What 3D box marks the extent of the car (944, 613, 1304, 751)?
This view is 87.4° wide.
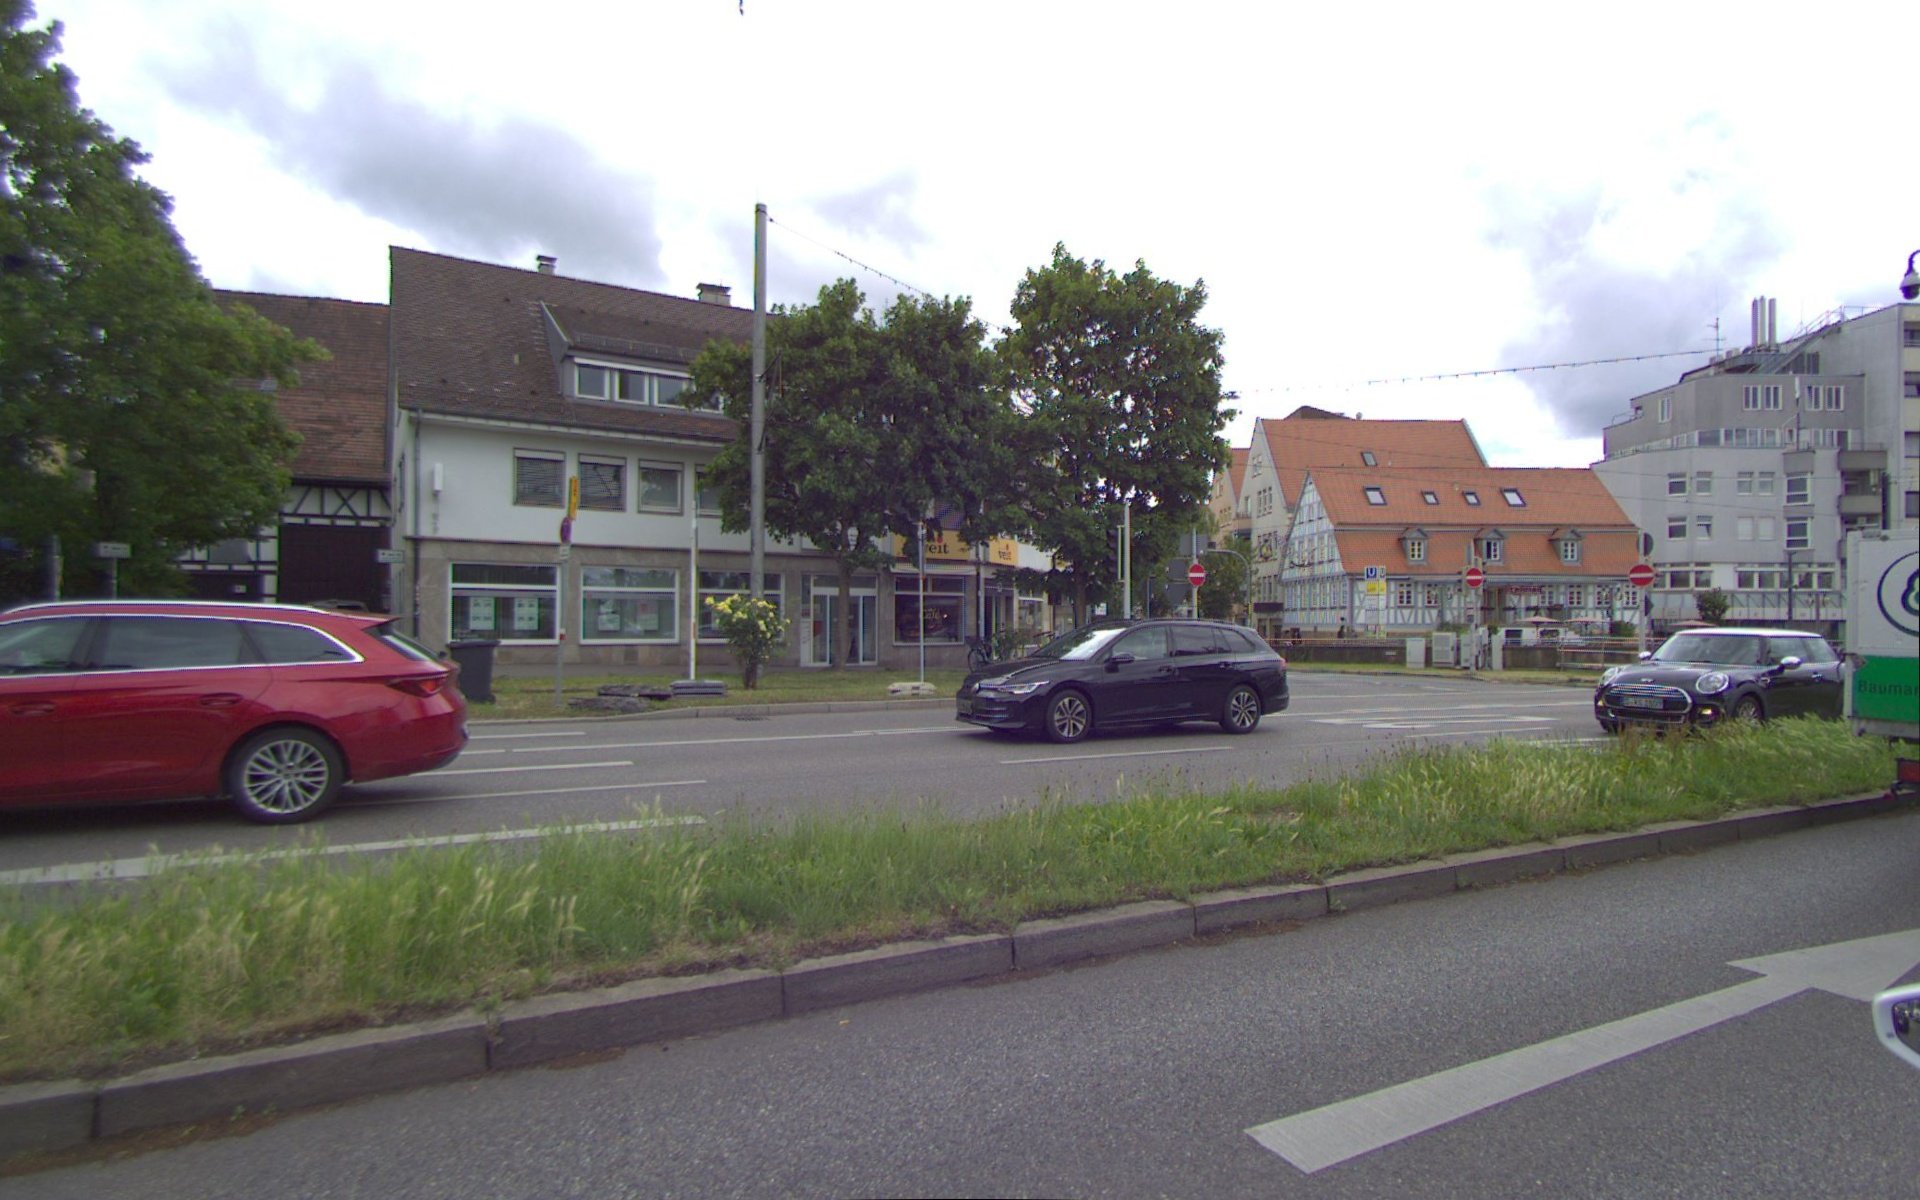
[{"bbox_3d":[2.158,0.939,13.077,4.338,1.520,1.986,0,-1,-28],"label":"car"}]

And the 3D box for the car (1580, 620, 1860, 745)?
[{"bbox_3d":[10.137,1.026,13.372,3.606,1.465,1.608,2,-1,-28],"label":"car"}]

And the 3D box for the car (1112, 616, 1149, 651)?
[{"bbox_3d":[11.298,2.198,66.807,2.200,2.090,4.409,-1,0,8],"label":"car"}]

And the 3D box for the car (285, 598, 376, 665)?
[{"bbox_3d":[-16.501,0.780,26.465,1.699,1.632,3.672,0,0,-27],"label":"car"}]

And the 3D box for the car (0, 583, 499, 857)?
[{"bbox_3d":[-5.820,0.720,6.937,4.770,1.611,1.987,0,-1,-26],"label":"car"}]

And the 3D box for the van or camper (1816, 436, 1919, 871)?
[{"bbox_3d":[8.810,0.317,7.096,5.893,2.698,2.332,-1,1,-30],"label":"van or camper"}]
